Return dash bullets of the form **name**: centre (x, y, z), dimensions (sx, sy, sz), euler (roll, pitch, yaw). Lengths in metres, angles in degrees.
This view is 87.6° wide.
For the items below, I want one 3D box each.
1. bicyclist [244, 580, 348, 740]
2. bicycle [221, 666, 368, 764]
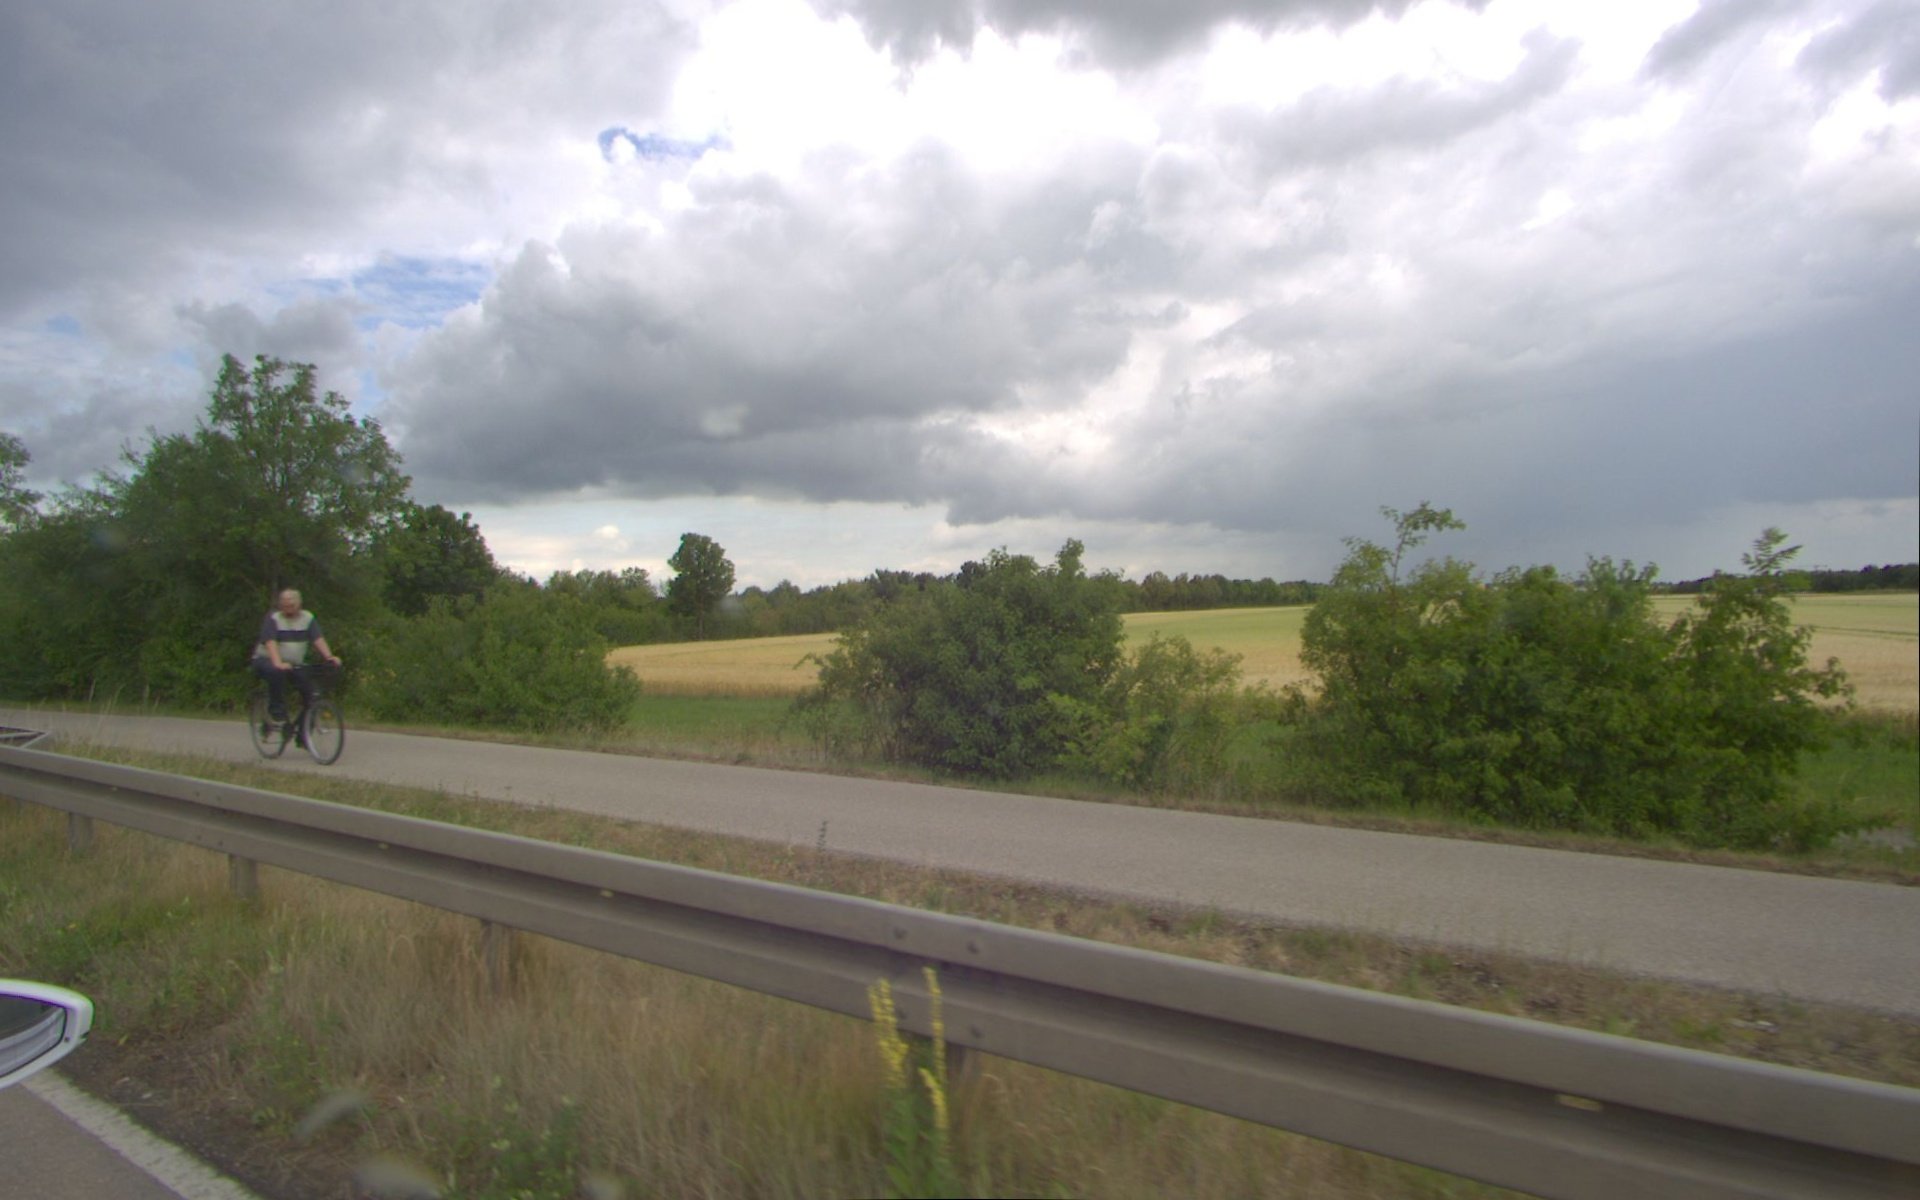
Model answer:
- **bicyclist**: centre (-7.256, 0.633, 10.948), dimensions (0.854, 1.667, 0.645), euler (-1, 0, 32)
- **bicycle**: centre (-7.323, 1.230, 10.990), dimensions (1.804, 0.932, 0.664), euler (-1, 0, 32)
